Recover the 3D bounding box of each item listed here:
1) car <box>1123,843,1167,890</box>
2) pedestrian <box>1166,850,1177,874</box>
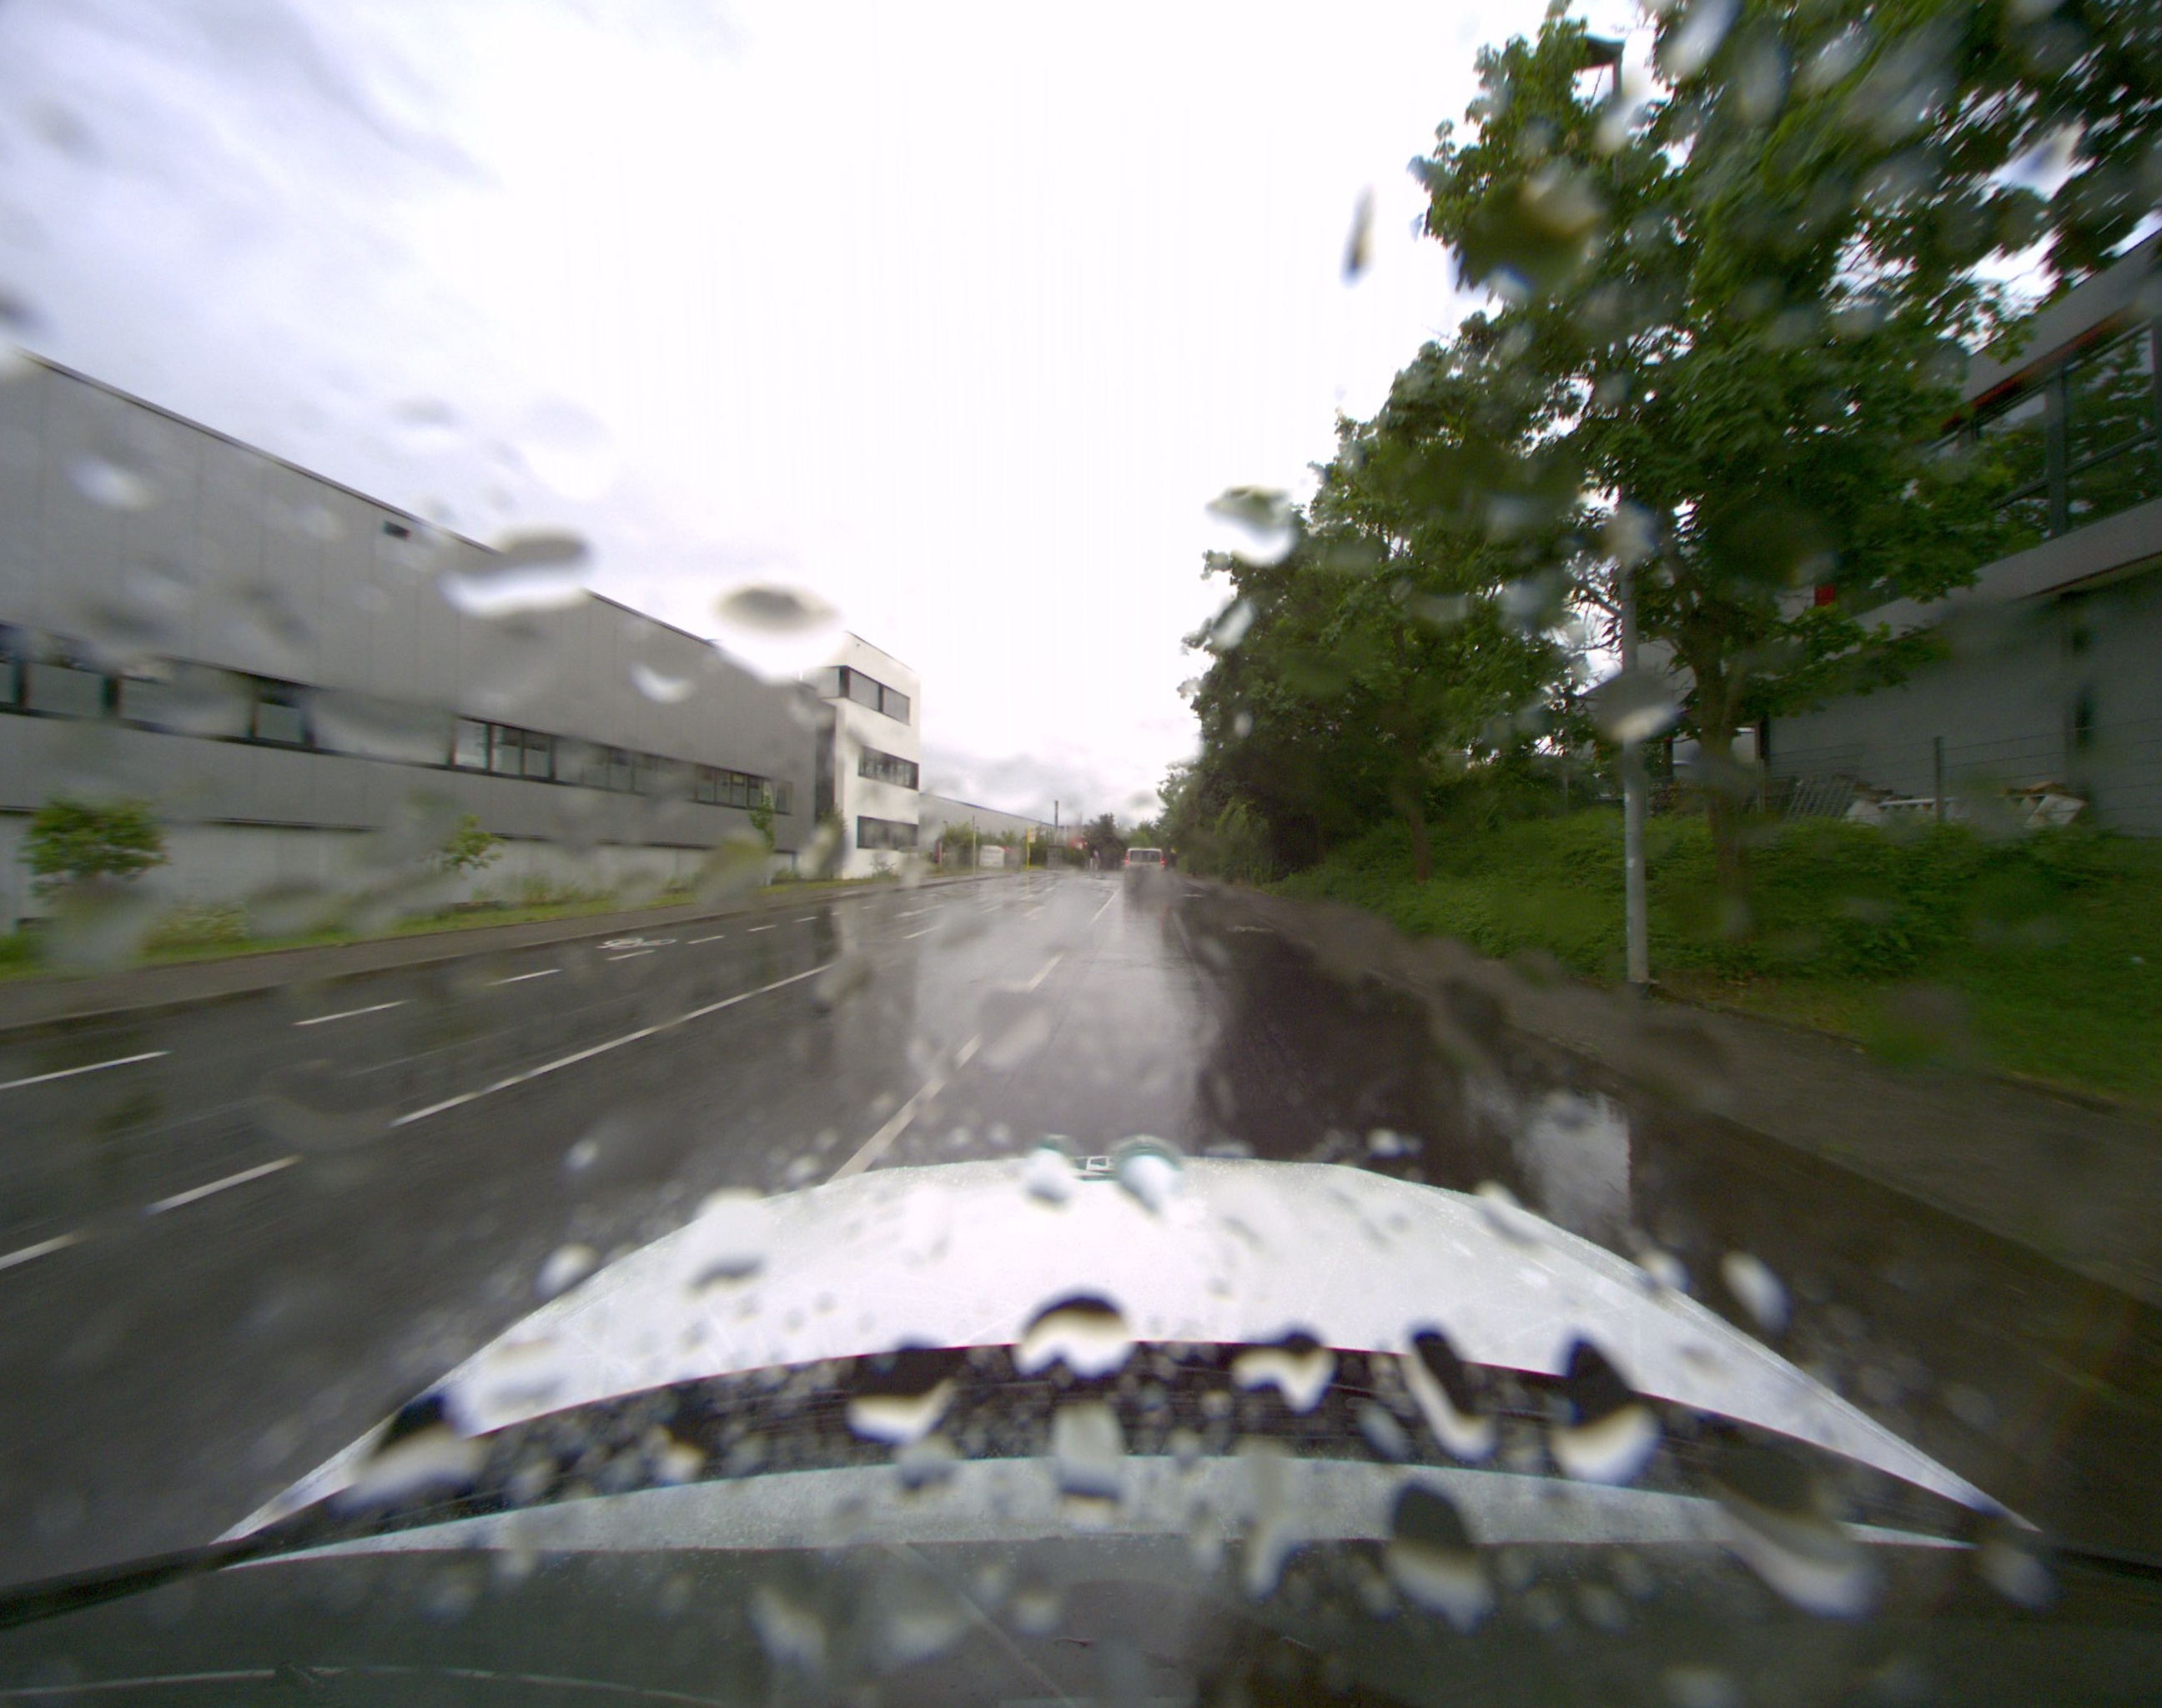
[{"bbox_3d":[3.045,0.580,38.816,1.890,2.018,5.379,-2,0,4],"label":"car"},{"bbox_3d":[7.468,0.688,66.903,0.773,1.907,0.729,-3,-2,3],"label":"pedestrian"}]
